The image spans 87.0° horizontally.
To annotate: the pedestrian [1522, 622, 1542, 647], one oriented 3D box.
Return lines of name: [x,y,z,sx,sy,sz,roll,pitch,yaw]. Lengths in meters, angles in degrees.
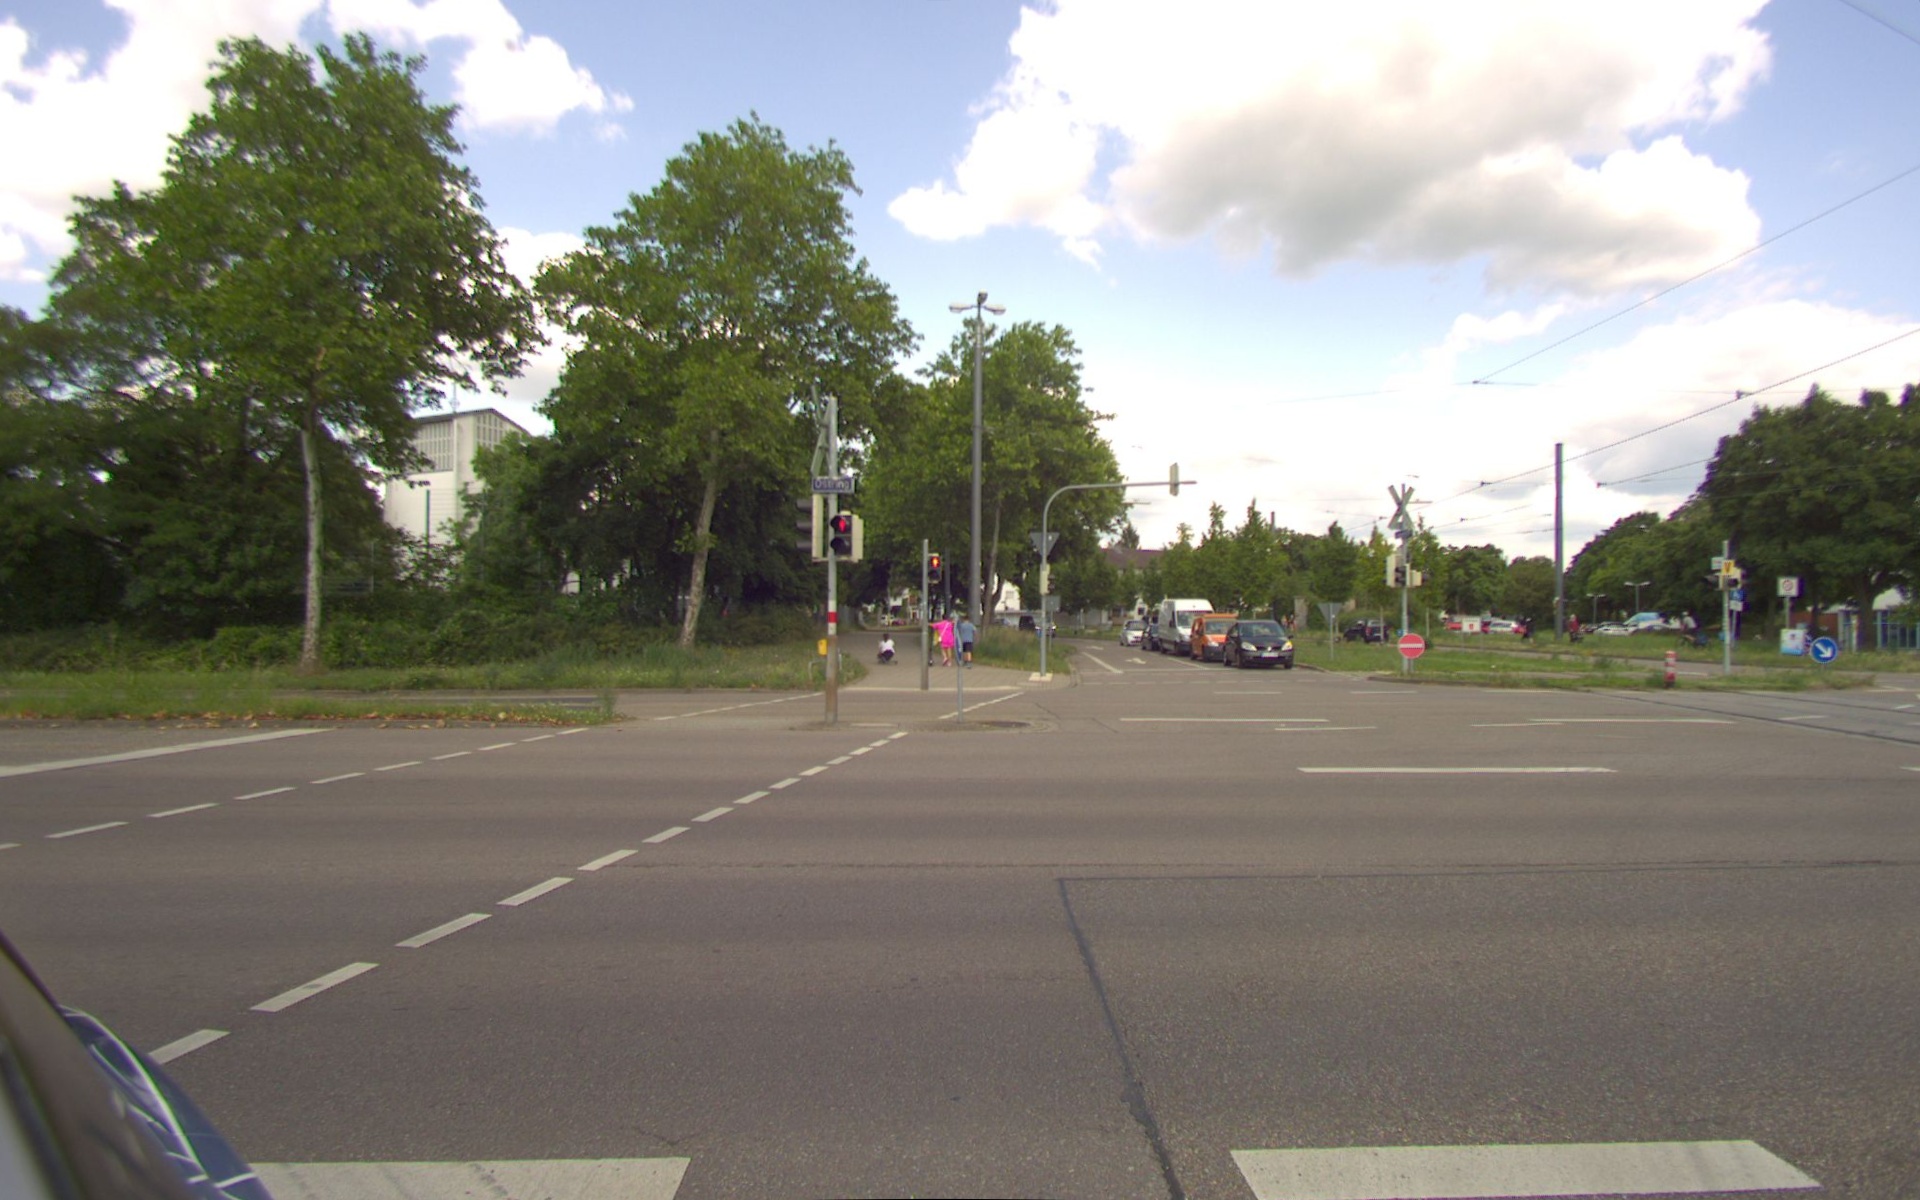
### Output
pedestrian: [32.475,1.942,57.492,0.642,1.364,0.752,-2,-2,1]

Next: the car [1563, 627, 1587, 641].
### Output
car: [73.563,4.050,121.050,1.990,1.652,4.351,-1,-2,26]

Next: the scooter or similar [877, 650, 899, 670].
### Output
scooter or similar: [-2.112,1.761,29.751,0.603,0.515,0.858,-2,-1,-2]

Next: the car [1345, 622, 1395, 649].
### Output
car: [25.800,2.193,63.806,1.705,1.629,3.995,0,-1,4]

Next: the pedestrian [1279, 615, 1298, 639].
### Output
pedestrian: [28.121,2.331,86.657,1.088,2.029,1.179,0,-1,-9]

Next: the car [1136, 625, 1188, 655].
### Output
car: [10.420,2.056,52.589,1.786,1.442,4.468,0,-1,0]

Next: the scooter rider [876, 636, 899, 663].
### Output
scooter rider: [-2.125,1.447,29.756,0.603,0.734,0.859,-2,-1,-1]

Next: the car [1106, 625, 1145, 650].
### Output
car: [9.975,2.239,61.229,1.787,1.442,4.380,0,-1,2]

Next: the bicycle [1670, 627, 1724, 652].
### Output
bicycle: [34.113,1.816,46.880,0.938,1.163,1.985,0,-1,-3]

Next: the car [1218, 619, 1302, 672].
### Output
car: [9.832,1.455,33.435,1.712,1.643,4.049,0,-1,2]

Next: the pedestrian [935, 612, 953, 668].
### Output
pedestrian: [-0.484,1.189,29.980,0.417,1.631,0.594,-1,-1,10]

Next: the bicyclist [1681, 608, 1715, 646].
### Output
bicyclist: [34.119,1.242,46.802,0.949,1.735,0.836,0,-1,-3]

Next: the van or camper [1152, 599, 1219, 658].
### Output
van or camper: [10.266,1.305,46.508,1.956,2.544,6.032,0,-2,2]

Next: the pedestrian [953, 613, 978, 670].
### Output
pedestrian: [0.172,1.218,29.803,0.626,1.631,0.609,-1,-1,10]

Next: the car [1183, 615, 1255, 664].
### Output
car: [10.090,1.510,39.778,1.859,1.813,4.367,0,-1,2]

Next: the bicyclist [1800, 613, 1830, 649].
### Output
bicyclist: [35.952,1.311,42.549,0.949,1.500,0.837,1,-2,-44]

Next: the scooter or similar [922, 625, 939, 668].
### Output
scooter or similar: [-0.878,1.386,30.123,0.318,1.241,0.773,-2,-2,12]

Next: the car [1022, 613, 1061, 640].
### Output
car: [6.764,2.196,84.767,1.824,2.172,4.395,0,-1,-15]

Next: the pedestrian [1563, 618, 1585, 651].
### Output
pedestrian: [31.321,1.745,51.623,0.603,1.657,0.640,-2,-2,-13]

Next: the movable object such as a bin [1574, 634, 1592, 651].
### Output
movable object such as a bin: [31.457,2.139,51.097,0.569,0.817,0.461,-2,-2,-13]

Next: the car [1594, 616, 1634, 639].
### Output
car: [48.657,2.053,75.378,1.990,1.652,4.351,-1,-2,26]

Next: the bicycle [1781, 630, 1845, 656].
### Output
bicycle: [35.890,1.800,42.602,0.937,1.048,1.986,1,-2,-43]

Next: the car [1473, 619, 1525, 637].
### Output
car: [47.196,2.440,88.709,3.980,1.541,1.982,-1,-2,27]
